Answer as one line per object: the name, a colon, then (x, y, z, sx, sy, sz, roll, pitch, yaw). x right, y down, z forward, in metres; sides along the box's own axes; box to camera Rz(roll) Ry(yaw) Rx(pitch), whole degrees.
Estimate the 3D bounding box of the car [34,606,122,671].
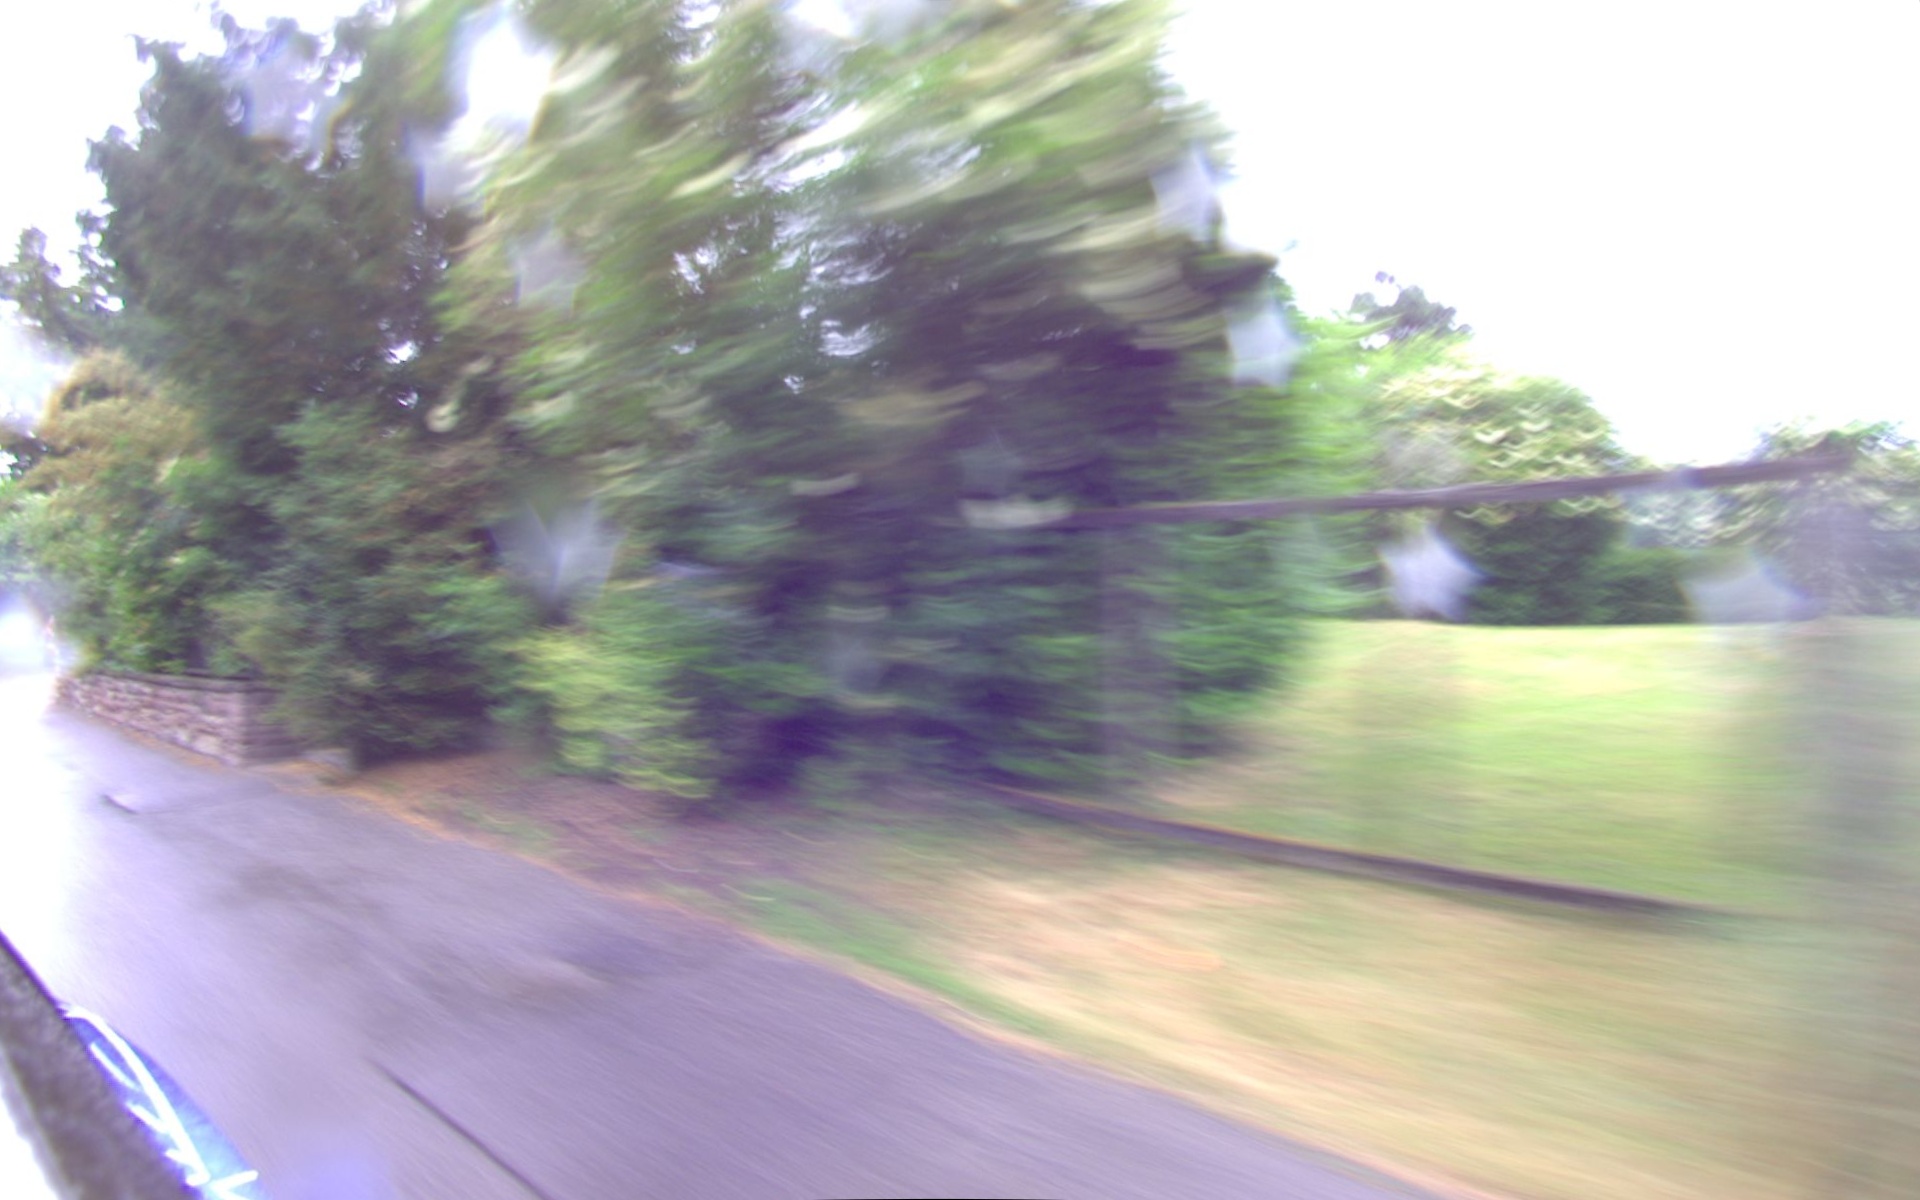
car: (-25.838, 1.071, 29.610, 1.763, 1.537, 3.661, -4, 5, -43)
